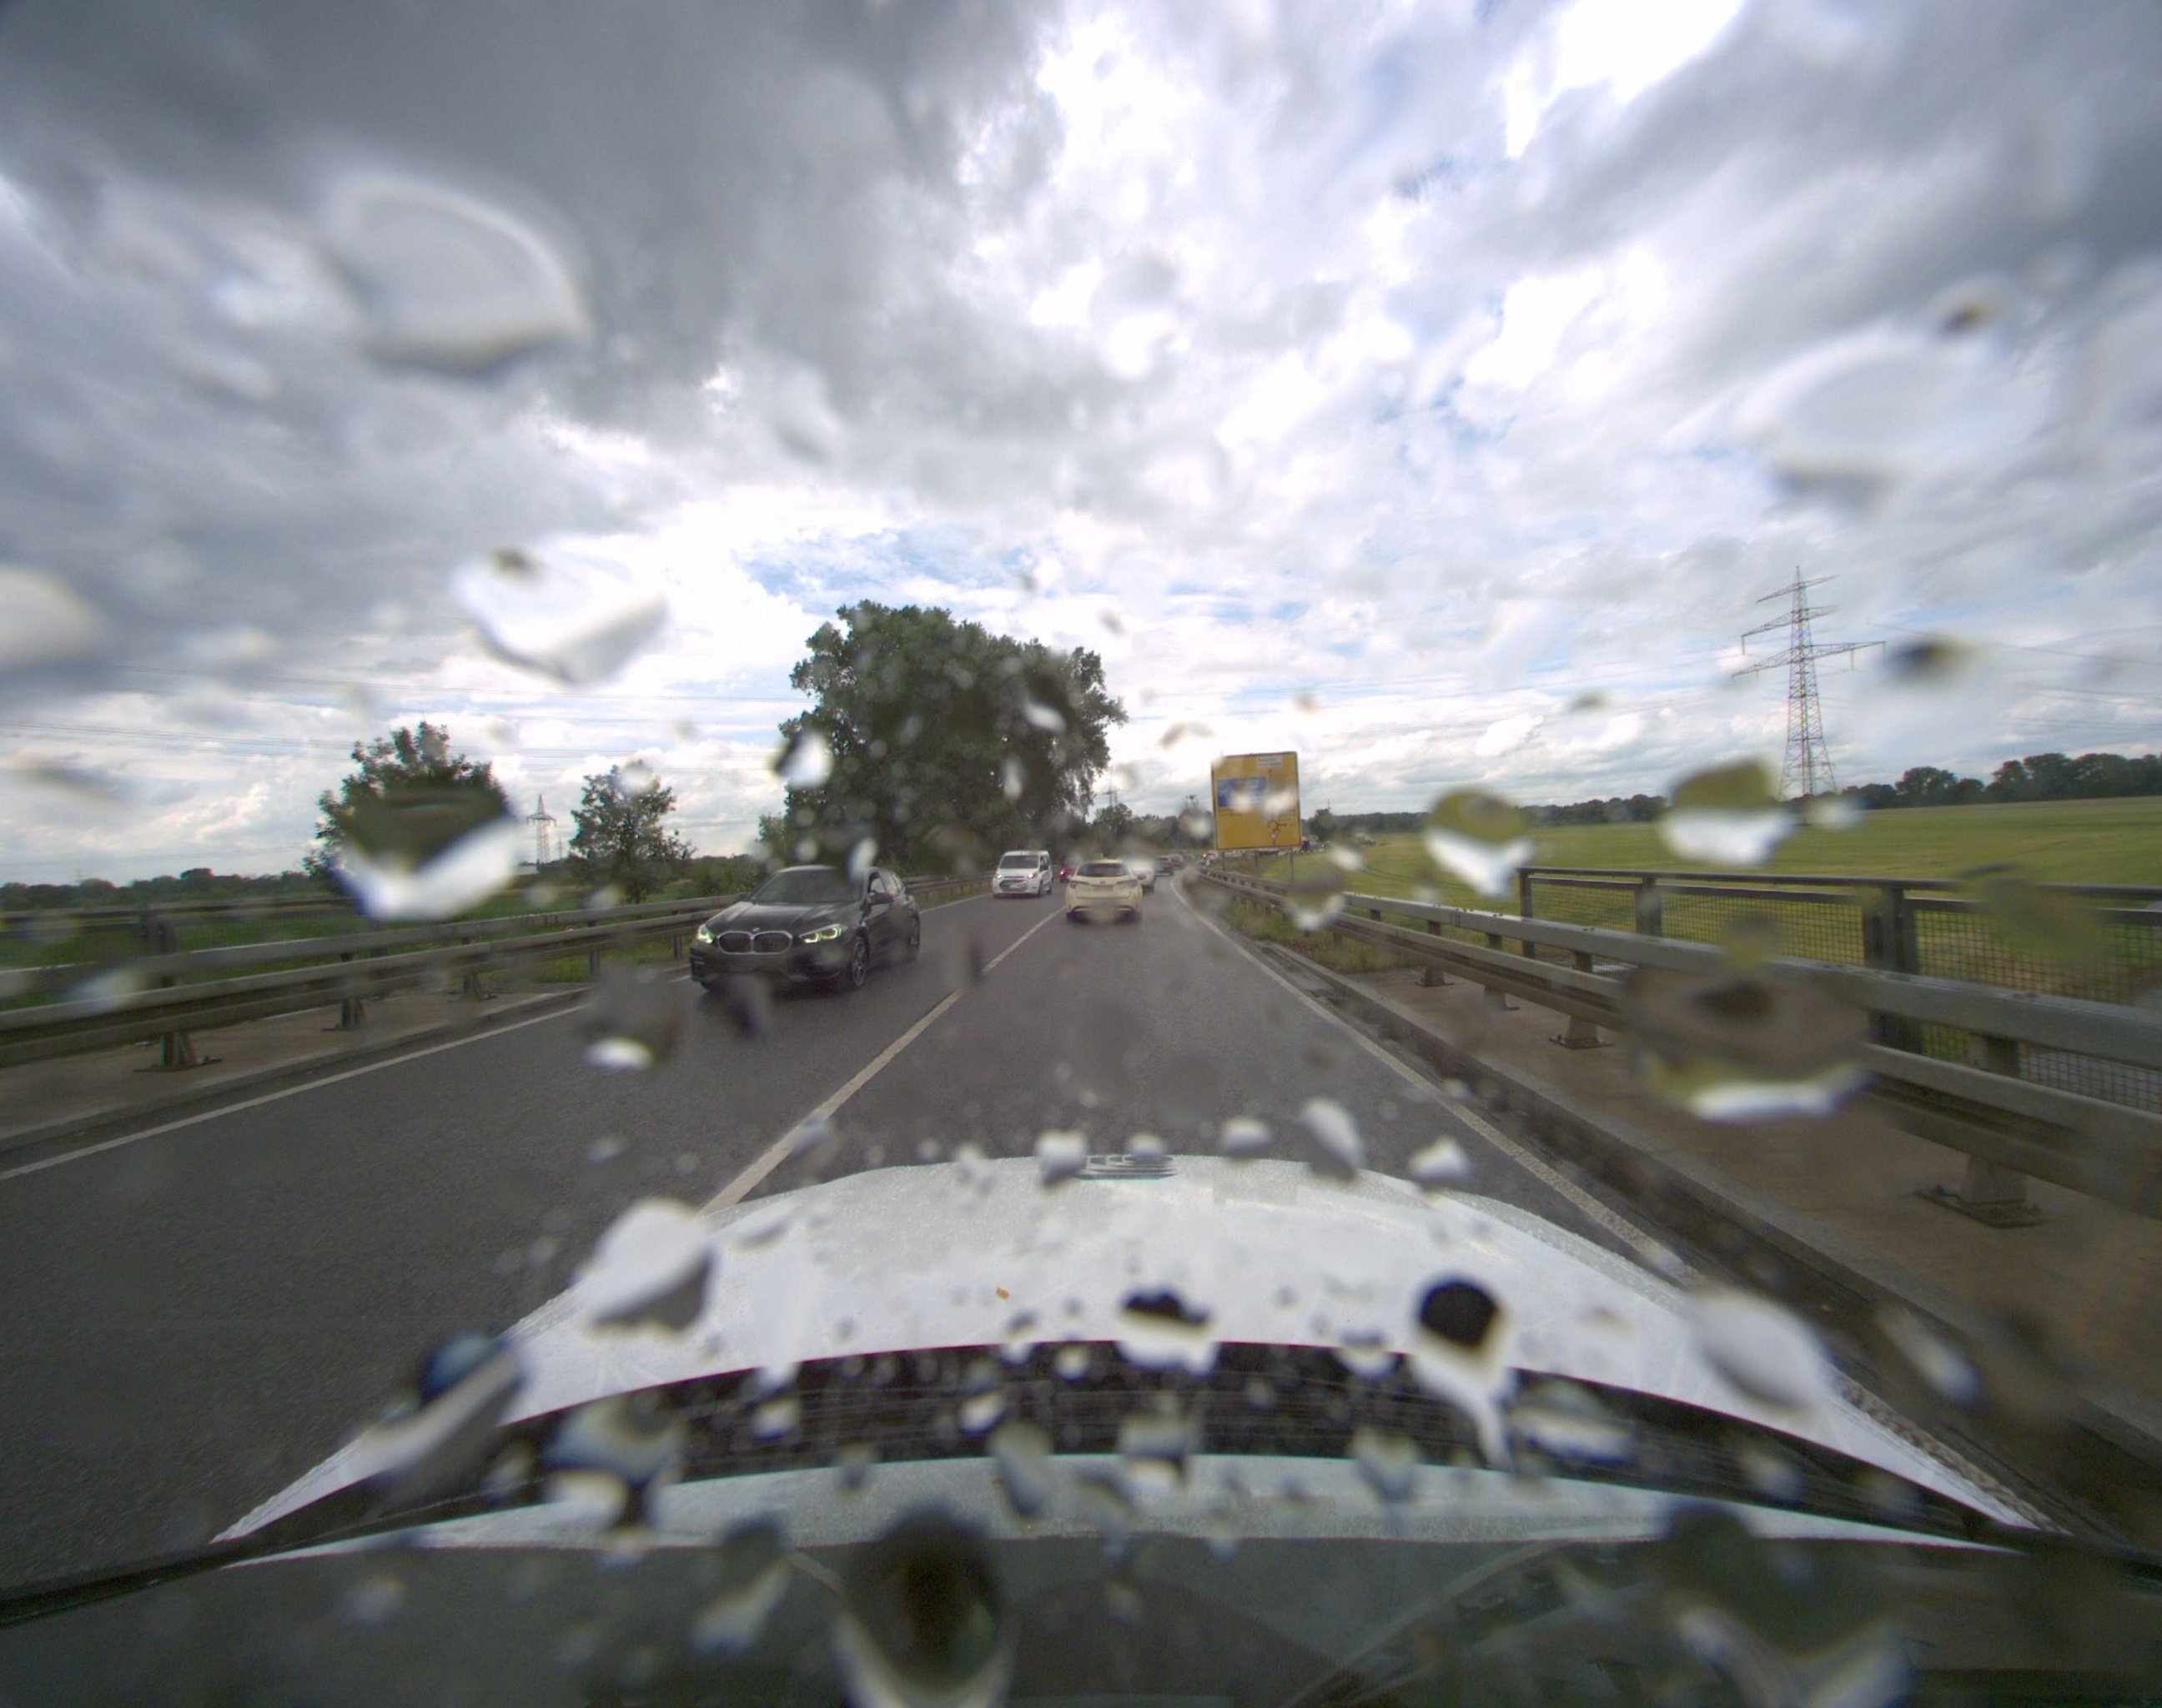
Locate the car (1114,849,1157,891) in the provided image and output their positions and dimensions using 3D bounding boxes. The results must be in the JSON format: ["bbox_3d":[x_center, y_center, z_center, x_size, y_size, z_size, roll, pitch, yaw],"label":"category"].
[{"bbox_3d":[2.256,0.627,33.170,1.570,1.572,3.687,-1,0,6],"label":"car"}]

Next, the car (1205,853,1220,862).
[{"bbox_3d":[19.104,0.514,118.096,1.470,1.309,3.494,-1,0,20],"label":"car"}]

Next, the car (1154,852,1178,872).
[{"bbox_3d":[6.491,0.619,62.006,1.655,1.464,3.485,-1,0,9],"label":"car"}]

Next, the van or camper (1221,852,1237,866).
[{"bbox_3d":[24.123,0.838,132.742,1.977,2.254,4.019,-1,-1,19],"label":"van or camper"}]

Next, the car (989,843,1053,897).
[{"bbox_3d":[-2.229,0.554,31.539,1.853,1.891,4.494,-1,0,3],"label":"car"}]

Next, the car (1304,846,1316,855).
[{"bbox_3d":[52.958,-0.724,188.424,1.975,2.014,4.024,-1,-1,27],"label":"car"}]

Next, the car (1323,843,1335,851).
[{"bbox_3d":[61.372,-1.740,201.592,2.205,2.014,4.023,-1,-1,26],"label":"car"}]

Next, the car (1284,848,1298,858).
[{"bbox_3d":[45.976,-0.233,177.960,2.146,2.014,4.024,-1,-1,27],"label":"car"}]

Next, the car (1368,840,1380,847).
[{"bbox_3d":[85.663,-3.114,238.228,1.745,2.013,4.024,-1,1,44],"label":"car"}]

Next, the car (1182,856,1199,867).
[{"bbox_3d":[13.441,0.863,99.831,1.471,1.309,3.492,-1,0,17],"label":"car"}]

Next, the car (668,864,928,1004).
[{"bbox_3d":[-3.323,0.851,10.545,1.690,1.400,4.334,-1,-1,2],"label":"car"}]

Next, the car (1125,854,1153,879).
[{"bbox_3d":[3.476,0.736,49.367,1.500,1.437,3.356,-1,0,1],"label":"car"}]

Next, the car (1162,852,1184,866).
[{"bbox_3d":[9.640,0.523,85.373,1.648,1.409,3.920,-1,-1,16],"label":"car"}]

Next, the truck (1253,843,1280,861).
[{"bbox_3d":[36.563,-0.329,160.122,3.110,3.562,7.567,-1,-1,28],"label":"truck"}]

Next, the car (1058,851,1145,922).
[{"bbox_3d":[0.599,0.732,20.140,1.897,1.537,4.166,-1,0,4],"label":"car"}]

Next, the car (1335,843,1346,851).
[{"bbox_3d":[66.670,-1.739,209.223,1.975,2.014,4.024,-2,-1,27],"label":"car"}]

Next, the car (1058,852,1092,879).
[{"bbox_3d":[-0.334,0.674,49.200,1.602,1.486,4.006,-1,1,5],"label":"car"}]

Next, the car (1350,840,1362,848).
[{"bbox_3d":[74.254,-2.621,219.615,1.974,2.014,4.025,-1,-1,36],"label":"car"}]
